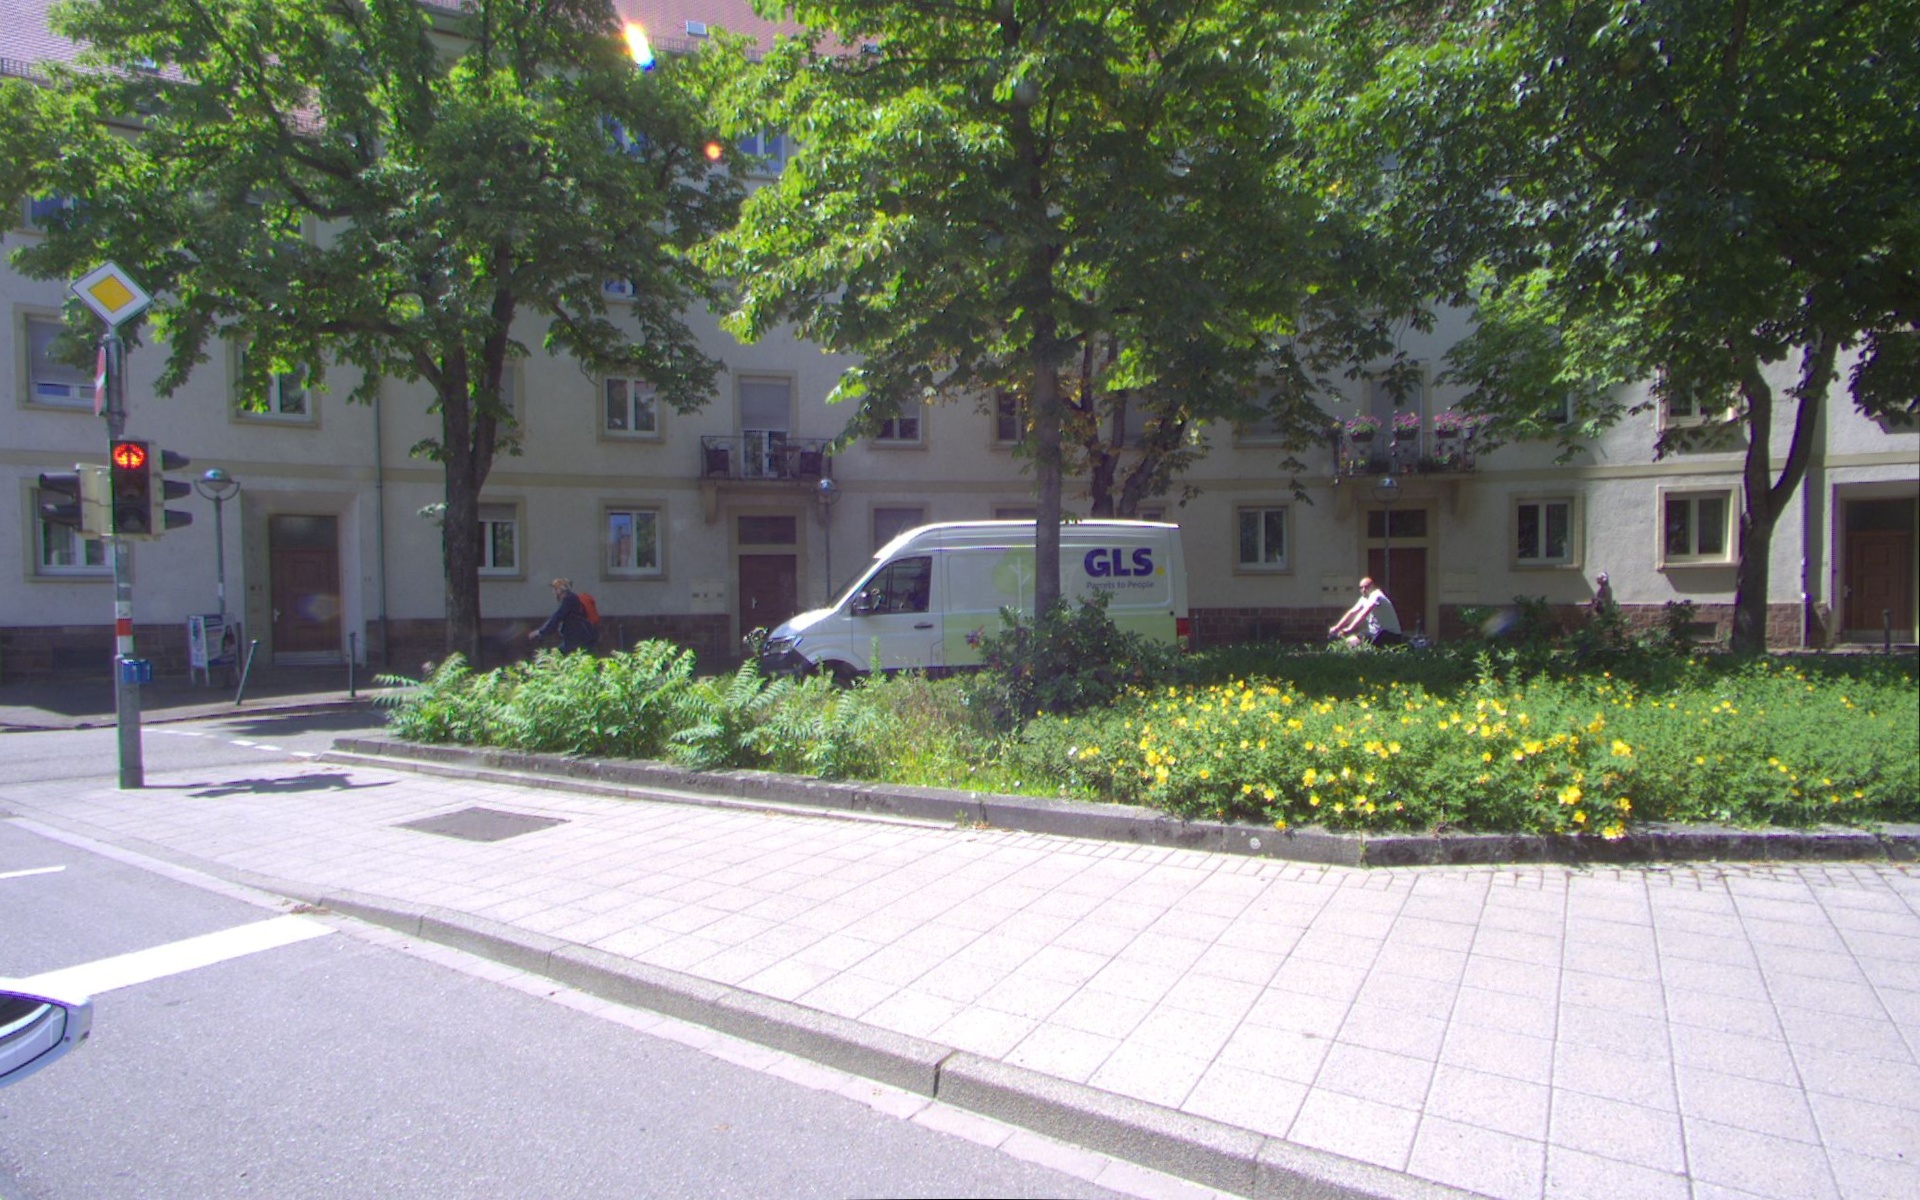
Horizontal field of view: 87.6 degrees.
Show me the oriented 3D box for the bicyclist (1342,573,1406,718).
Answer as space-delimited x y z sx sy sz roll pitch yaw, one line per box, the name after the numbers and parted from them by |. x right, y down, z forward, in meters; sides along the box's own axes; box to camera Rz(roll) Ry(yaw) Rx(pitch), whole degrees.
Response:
5.353 0.578 12.969 0.524 1.823 0.603 0 0 -7 | bicyclist

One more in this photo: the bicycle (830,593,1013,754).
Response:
-0.388 0.649 9.244 1.809 1.377 0.351 -1 0 33 | bicycle

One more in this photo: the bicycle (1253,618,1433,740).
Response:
4.923 0.989 12.922 2.126 1.505 0.593 0 0 -6 | bicycle

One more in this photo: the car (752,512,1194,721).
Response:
0.131 0.198 13.923 5.738 2.624 1.999 0 1 -7 | car

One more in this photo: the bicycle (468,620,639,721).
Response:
-5.367 0.902 13.293 2.054 1.253 0.578 0 0 -25 | bicycle

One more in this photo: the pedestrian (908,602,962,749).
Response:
-0.224 0.676 9.146 0.345 1.301 0.365 0 0 32 | pedestrian

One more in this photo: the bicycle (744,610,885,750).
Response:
-1.265 0.676 8.627 1.269 1.141 0.332 -2 -1 32 | bicycle

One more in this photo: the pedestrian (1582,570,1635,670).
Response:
13.654 0.423 21.104 0.760 2.040 0.806 -1 0 21 | pedestrian

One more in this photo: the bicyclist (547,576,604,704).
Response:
-5.150 0.521 13.406 0.684 1.667 0.578 0 0 -24 | bicyclist
